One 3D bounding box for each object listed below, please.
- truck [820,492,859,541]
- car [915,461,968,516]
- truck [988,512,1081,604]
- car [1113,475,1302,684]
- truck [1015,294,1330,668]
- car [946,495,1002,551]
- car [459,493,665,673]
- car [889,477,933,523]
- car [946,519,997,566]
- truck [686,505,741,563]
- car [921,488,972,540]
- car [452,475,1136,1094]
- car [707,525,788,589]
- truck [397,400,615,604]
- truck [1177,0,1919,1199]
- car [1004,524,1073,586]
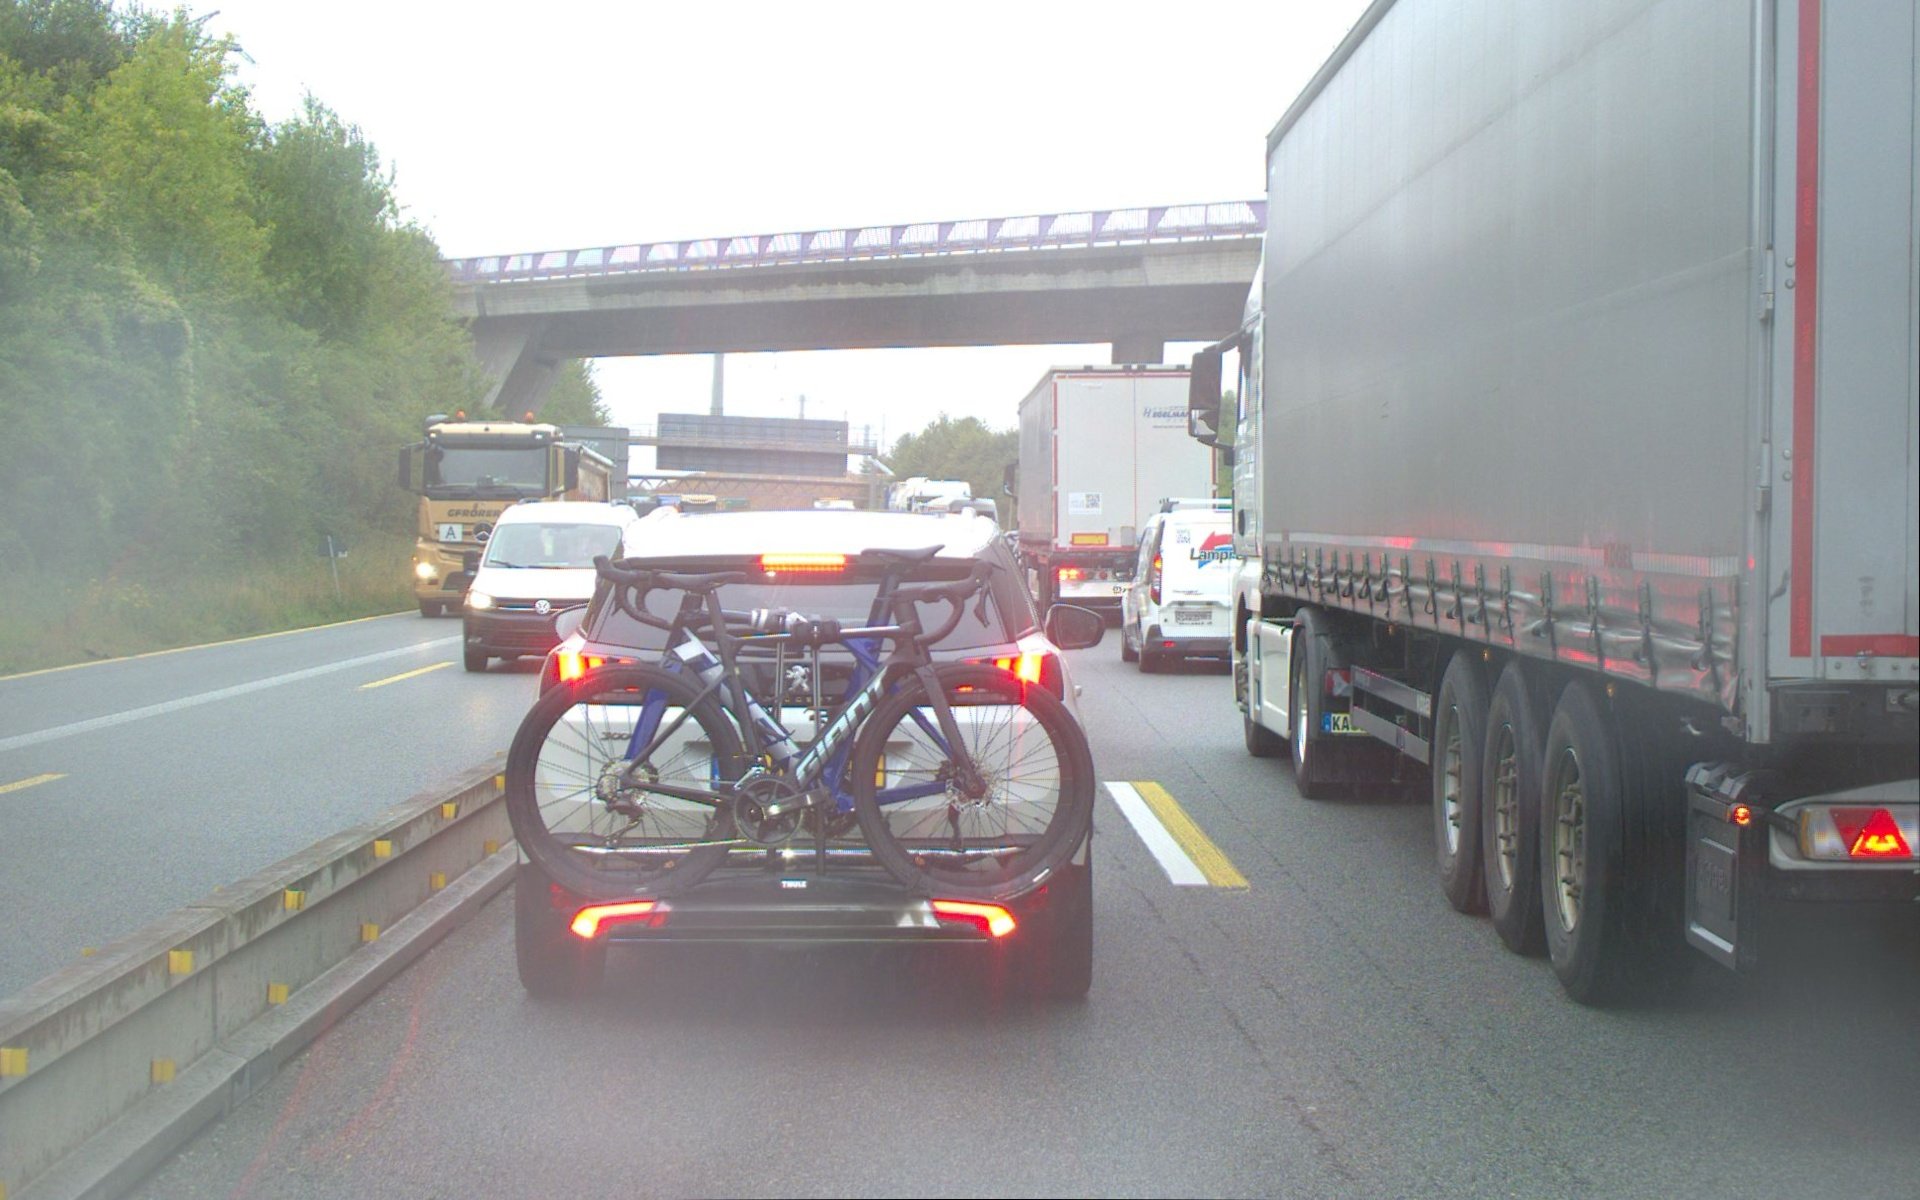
[{"bbox_3d":[-8.530,-5.921,244.626,2.535,3.341,12.051,1,1,-1],"label":"truck"},{"bbox_3d":[-0.801,-4.845,149.557,2.239,2.299,4.572,1,1,0],"label":"car"},{"bbox_3d":[1.664,-0.947,77.710,1.993,2.007,4.000,1,1,0],"label":"truck"},{"bbox_3d":[2.690,-0.248,38.162,1.670,2.173,4.535,1,1,-1],"label":"car"},{"bbox_3d":[3.442,-1.970,62.651,4.743,5.654,20.376,1,1,1],"label":"truck"},{"bbox_3d":[0.502,-2.793,125.230,1.993,2.007,4.000,1,1,0],"label":"car"},{"bbox_3d":[-4.243,-0.205,37.262,1.810,1.817,4.636,1,1,-2],"label":"car"},{"bbox_3d":[-2.328,-4.742,164.161,1.993,2.119,4.527,1,1,0],"label":"car"},{"bbox_3d":[0.372,-1.877,111.835,1.638,1.492,3.666,1,1,0],"label":"car"},{"bbox_3d":[-16.077,-4.291,224.911,2.681,3.644,12.312,1,1,0],"label":"truck"},{"bbox_3d":[-0.523,-3.393,136.796,1.993,2.007,4.000,1,1,0],"label":"car"},{"bbox_3d":[-0.398,0.456,11.480,1.810,1.632,4.635,1,1,1],"label":"car"},{"bbox_3d":[-4.793,-0.978,77.757,1.686,1.404,3.930,1,1,-2],"label":"car"},{"bbox_3d":[-8.076,-1.703,62.587,2.535,3.341,12.051,1,1,-1],"label":"truck"},{"bbox_3d":[3.733,-1.635,17.460,3.979,5.654,20.376,1,1,0],"label":"truck"},{"bbox_3d":[1.933,-1.113,85.528,1.638,1.492,3.666,1,1,0],"label":"car"}]
